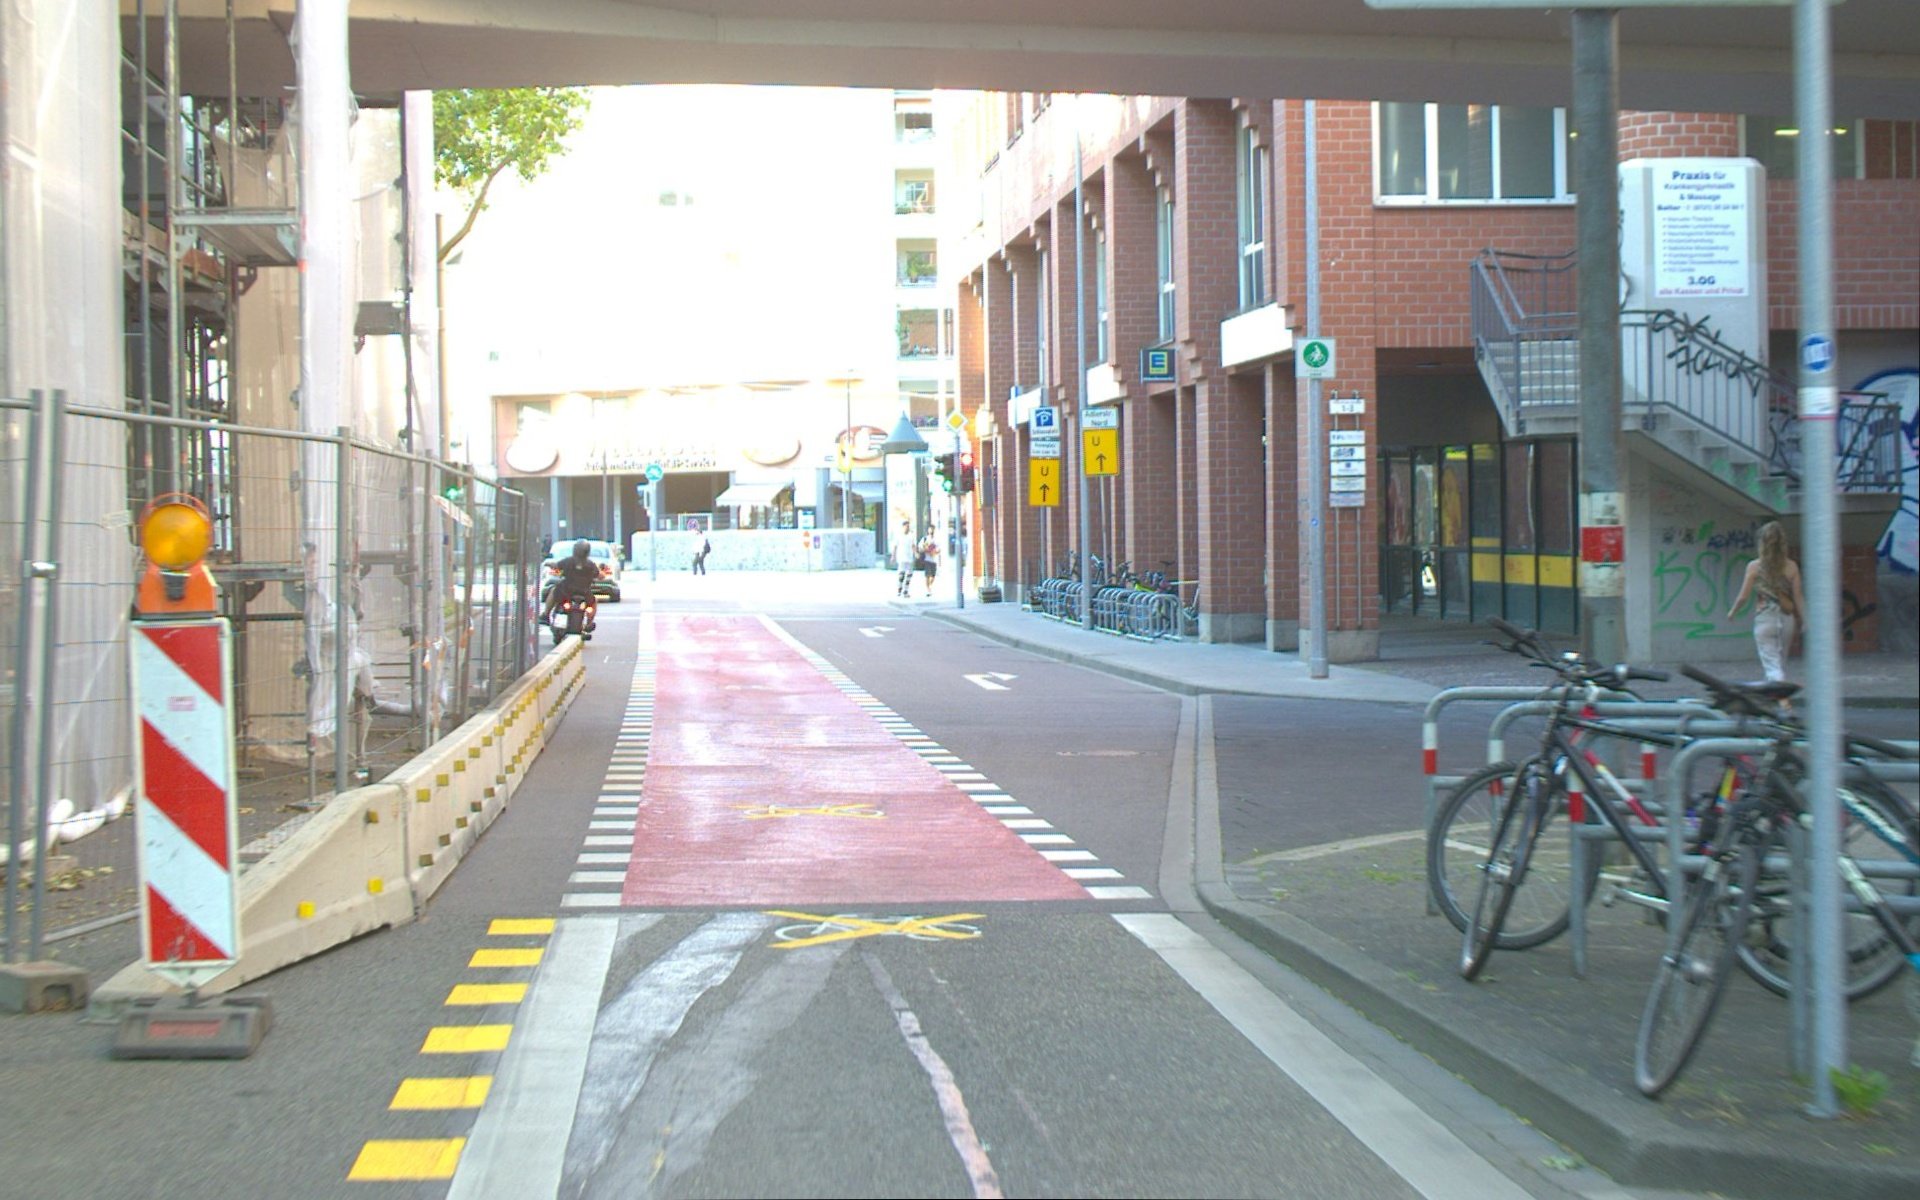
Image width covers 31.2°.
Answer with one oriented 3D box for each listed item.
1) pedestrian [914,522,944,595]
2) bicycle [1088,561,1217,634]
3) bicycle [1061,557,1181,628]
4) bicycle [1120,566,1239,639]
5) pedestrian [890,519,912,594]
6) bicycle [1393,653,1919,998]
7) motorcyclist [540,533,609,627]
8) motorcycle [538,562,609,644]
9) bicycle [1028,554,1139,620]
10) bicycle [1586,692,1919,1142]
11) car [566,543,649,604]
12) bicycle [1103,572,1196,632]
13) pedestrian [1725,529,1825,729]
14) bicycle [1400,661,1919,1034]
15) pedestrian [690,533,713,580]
[{"bbox_3d":[-0.739,-0.995,82.087,0.633,1.719,0.630,-1,1,-5],"label":"pedestrian"},{"bbox_3d":[3.007,-0.044,53.906,1.932,1.053,0.573,-3,1,-2],"label":"bicycle"},{"bbox_3d":[2.655,-0.131,56.680,1.891,1.115,0.550,-1,1,-5],"label":"bicycle"},{"bbox_3d":[3.186,0.032,49.971,1.611,0.951,0.555,-3,1,-3],"label":"bicycle"},{"bbox_3d":[-1.414,-1.040,82.043,0.475,1.786,0.541,-1,1,-5],"label":"pedestrian"},{"bbox_3d":[2.346,0.731,11.630,1.680,1.064,0.500,1,1,29],"label":"bicycle"},{"bbox_3d":[-5.568,-0.295,49.679,0.970,1.342,1.138,1,1,-6],"label":"motorcyclist"},{"bbox_3d":[-5.596,0.026,49.890,0.973,1.128,2.805,1,1,-6],"label":"motorcycle"},{"bbox_3d":[2.184,-0.234,60.780,1.891,1.115,0.475,-1,1,-5],"label":"bicycle"},{"bbox_3d":[2.447,0.785,8.604,1.679,1.064,0.511,0,1,18],"label":"bicycle"},{"bbox_3d":[-8.395,-0.648,81.704,1.923,1.384,4.001,-1,1,-6],"label":"car"},{"bbox_3d":[2.893,0.023,52.583,1.334,0.838,0.425,-3,1,-3],"label":"bicycle"},{"bbox_3d":[6.728,0.232,28.407,0.569,1.627,0.778,0,1,-6],"label":"pedestrian"},{"bbox_3d":[2.268,0.747,10.836,1.680,1.064,0.500,1,1,29],"label":"bicycle"},{"bbox_3d":[-8.778,-1.470,116.684,0.557,1.578,0.539,1,2,42],"label":"pedestrian"}]
